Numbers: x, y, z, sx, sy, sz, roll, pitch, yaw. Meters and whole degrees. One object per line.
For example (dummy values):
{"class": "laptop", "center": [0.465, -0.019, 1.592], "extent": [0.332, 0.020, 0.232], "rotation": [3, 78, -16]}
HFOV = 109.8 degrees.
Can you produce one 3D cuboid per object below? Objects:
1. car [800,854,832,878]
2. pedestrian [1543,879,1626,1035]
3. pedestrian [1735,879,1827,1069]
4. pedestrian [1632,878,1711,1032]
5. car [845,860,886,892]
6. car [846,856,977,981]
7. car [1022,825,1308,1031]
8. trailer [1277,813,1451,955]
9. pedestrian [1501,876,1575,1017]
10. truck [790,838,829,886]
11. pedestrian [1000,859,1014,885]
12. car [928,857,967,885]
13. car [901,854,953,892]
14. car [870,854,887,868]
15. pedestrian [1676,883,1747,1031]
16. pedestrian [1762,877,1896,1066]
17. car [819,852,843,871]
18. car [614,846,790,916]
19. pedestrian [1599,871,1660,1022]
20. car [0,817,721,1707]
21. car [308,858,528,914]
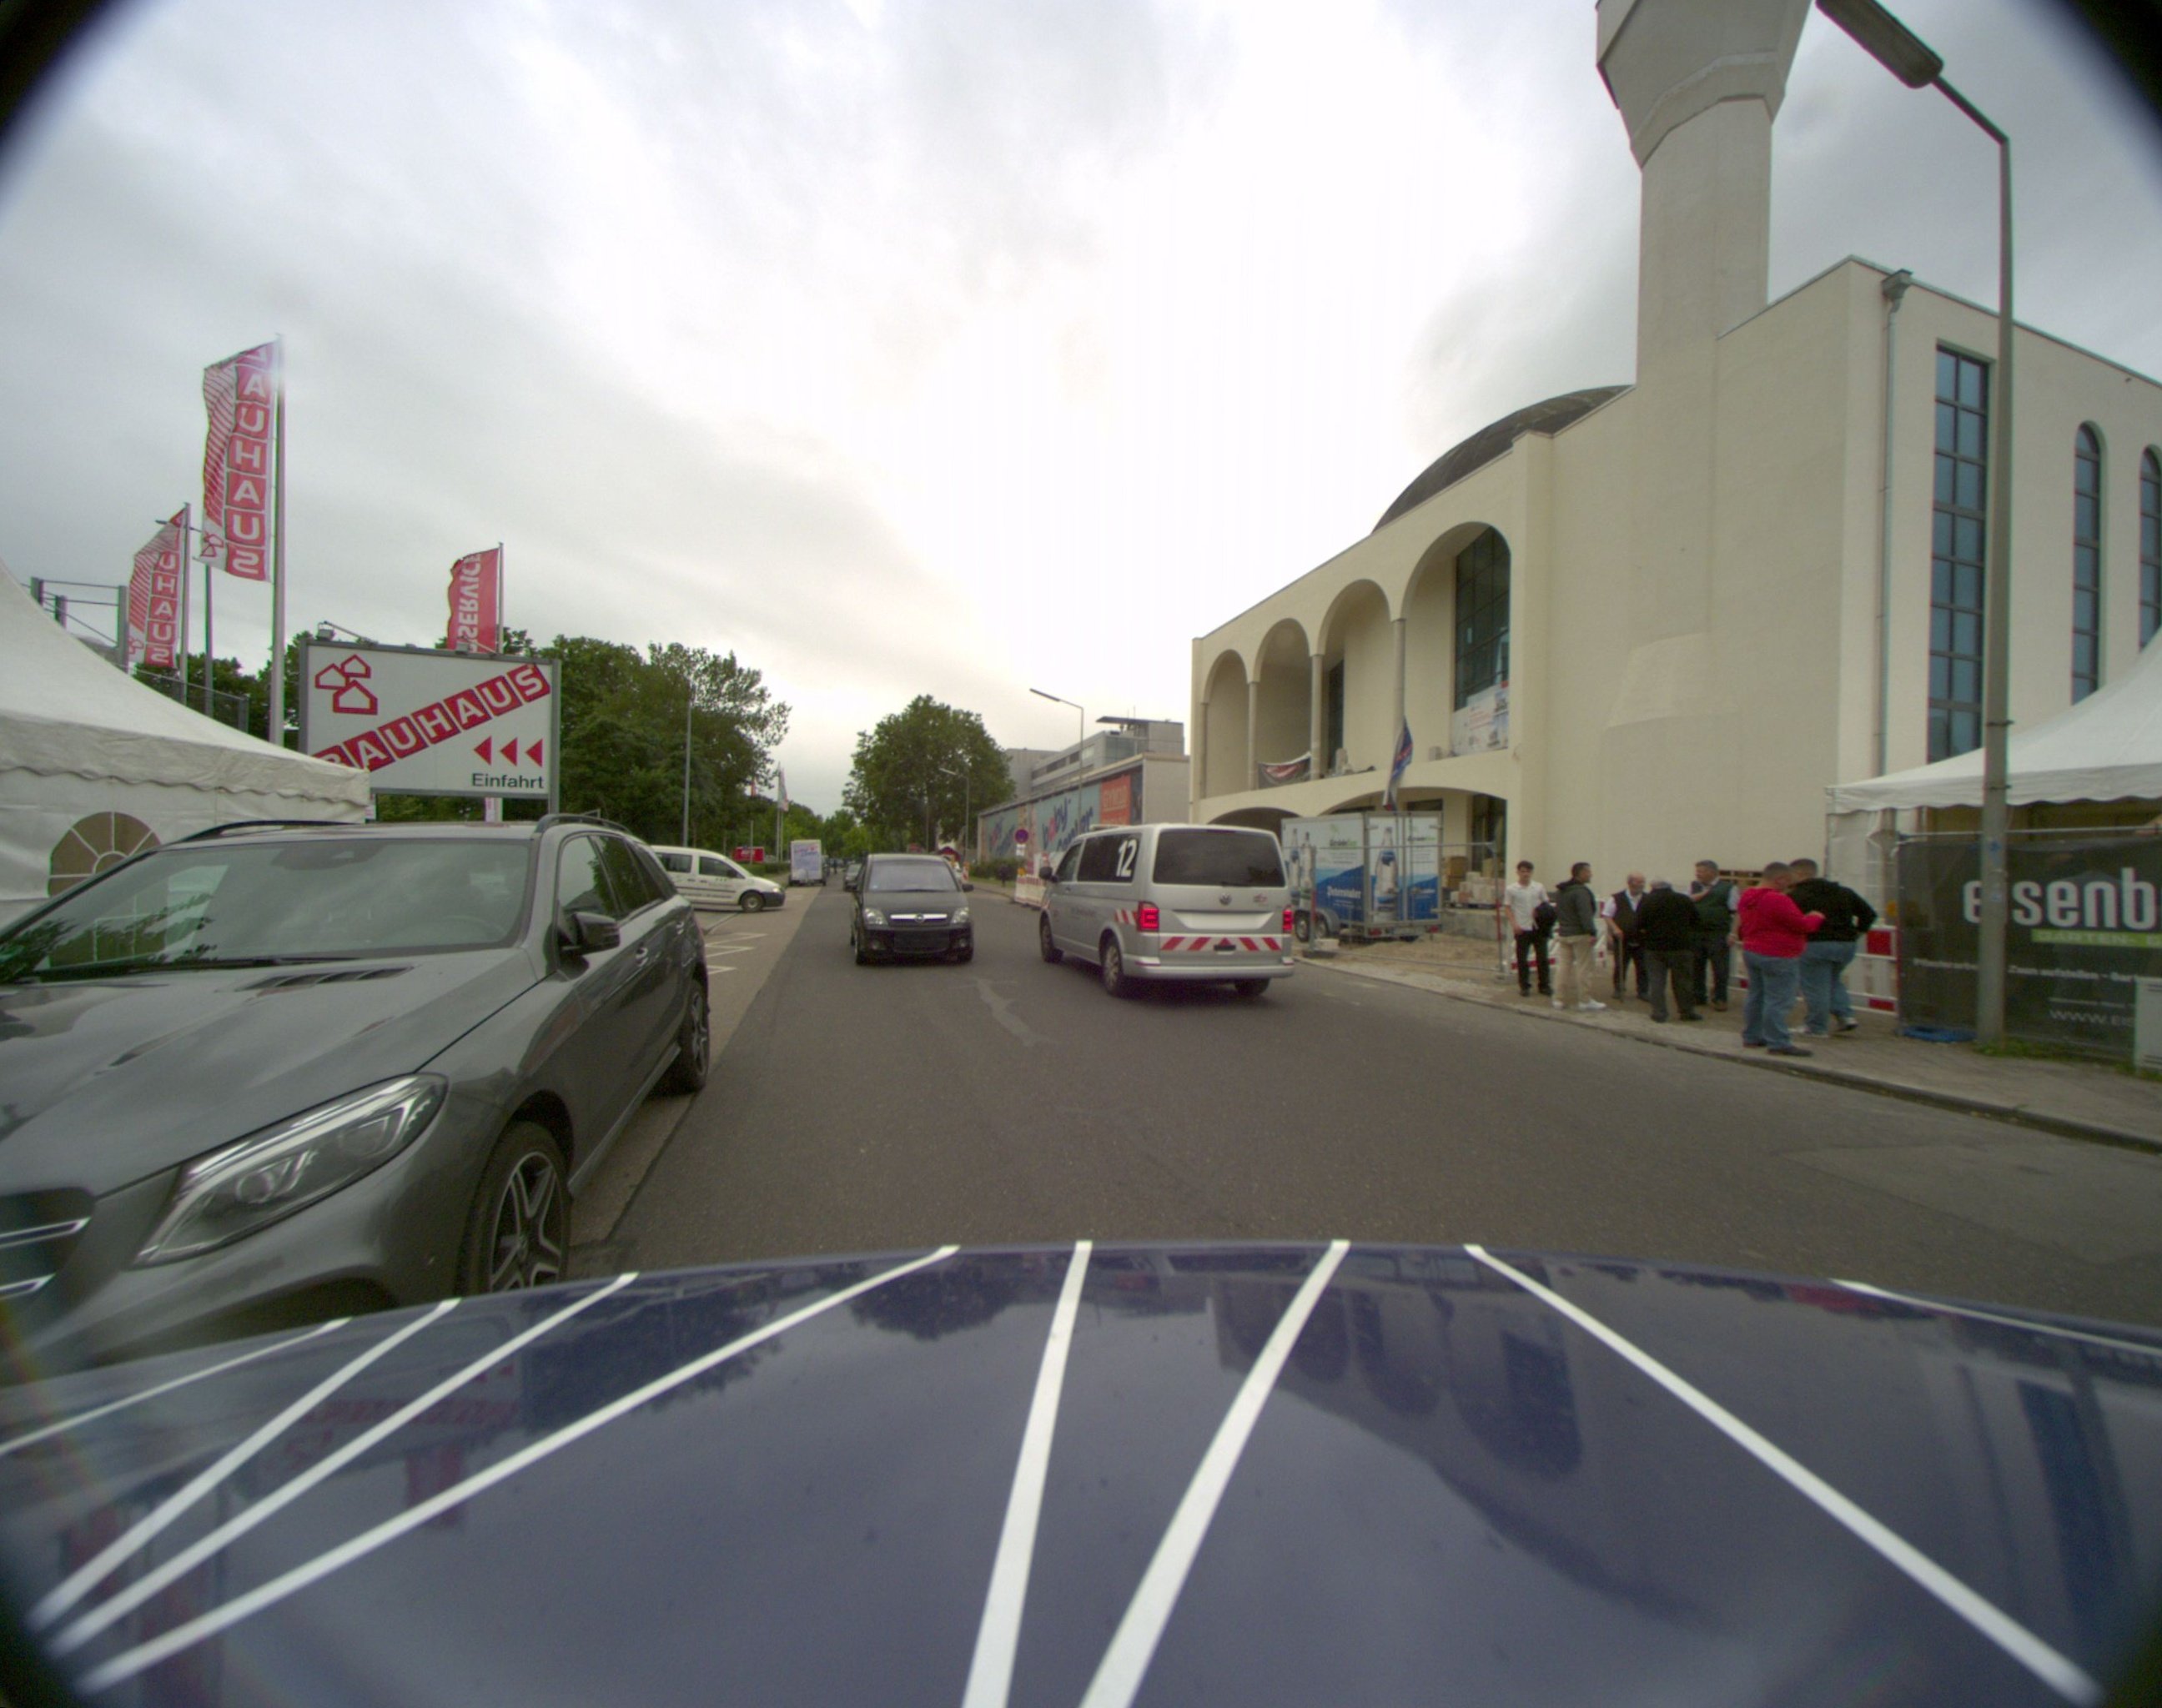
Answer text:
{"class": "car", "center": [-20.166, 0.907, 57.991], "extent": [2.001, 1.739, 3.994], "rotation": [1, 0, -16]}
{"class": "pedestrian", "center": [5.962, 1.178, 9.003], "extent": [0.492, 1.739, 0.689], "rotation": [1, 0, -44]}
{"class": "pedestrian", "center": [6.315, 1.038, 6.857], "extent": [0.539, 1.602, 0.492], "rotation": [2, 0, 44]}
{"class": "pedestrian", "center": [6.451, 1.072, 8.322], "extent": [0.570, 1.602, 0.492], "rotation": [1, 0, 28]}
{"class": "car", "center": [-10.383, 1.009, 36.449], "extent": [1.752, 1.351, 4.131], "rotation": [-1, 1, -17]}
{"class": "car", "center": [-2.744, 0.862, 11.940], "extent": [1.687, 1.622, 3.753], "rotation": [1, 0, -15]}
{"class": "car", "center": [0.716, 0.715, 10.043], "extent": [1.935, 2.002, 4.947], "rotation": [1, 0, -17]}
{"class": "trailer", "center": [5.662, 0.572, 15.620], "extent": [1.805, 2.591, 3.187], "rotation": [1, 0, -14]}
{"class": "pedestrian", "center": [5.951, 1.166, 9.898], "extent": [0.492, 1.739, 0.689], "rotation": [1, 0, -44]}
{"class": "truck", "center": [-15.593, 0.414, 43.807], "extent": [1.855, 2.598, 3.993], "rotation": [-2, 1, -18]}
{"class": "pedestrian", "center": [-4.509, 1.083, 46.293], "extent": [0.794, 1.570, 0.601], "rotation": [-1, 1, -14]}
{"class": "car", "center": [-8.607, 1.046, 48.653], "extent": [1.932, 1.564, 4.143], "rotation": [4, -1, -16]}
{"class": "car", "center": [-7.795, 0.905, 38.139], "extent": [1.968, 1.652, 4.646], "rotation": [4, -1, -17]}
{"class": "car", "center": [-25.502, 0.864, 95.495], "extent": [1.932, 1.564, 3.994], "rotation": [2, 0, -17]}
{"class": "pedestrian", "center": [7.266, 1.151, 8.758], "extent": [0.542, 1.602, 0.489], "rotation": [-1, 2, -35]}
{"class": "pedestrian", "center": [7.256, 1.097, 7.414], "extent": [0.694, 1.707, 0.689], "rotation": [-3, -1, 27]}
{"class": "car", "center": [-23.970, 0.692, 72.975], "extent": [2.001, 1.739, 3.994], "rotation": [1, 0, -16]}
{"class": "car", "center": [-11.078, 0.801, 22.588], "extent": [4.388, 1.796, 1.798], "rotation": [3, -1, -19]}
{"class": "pedestrian", "center": [6.753, 1.113, 9.355], "extent": [0.491, 1.740, 0.527], "rotation": [-8, 7, -43]}
{"class": "car", "center": [-2.903, 0.837, 3.061], "extent": [1.916, 1.731, 4.473], "rotation": [-2, 1, -17]}
{"class": "car", "center": [-17.681, 0.822, 20.485], "extent": [4.118, 1.412, 1.728], "rotation": [0, 0, -16]}
